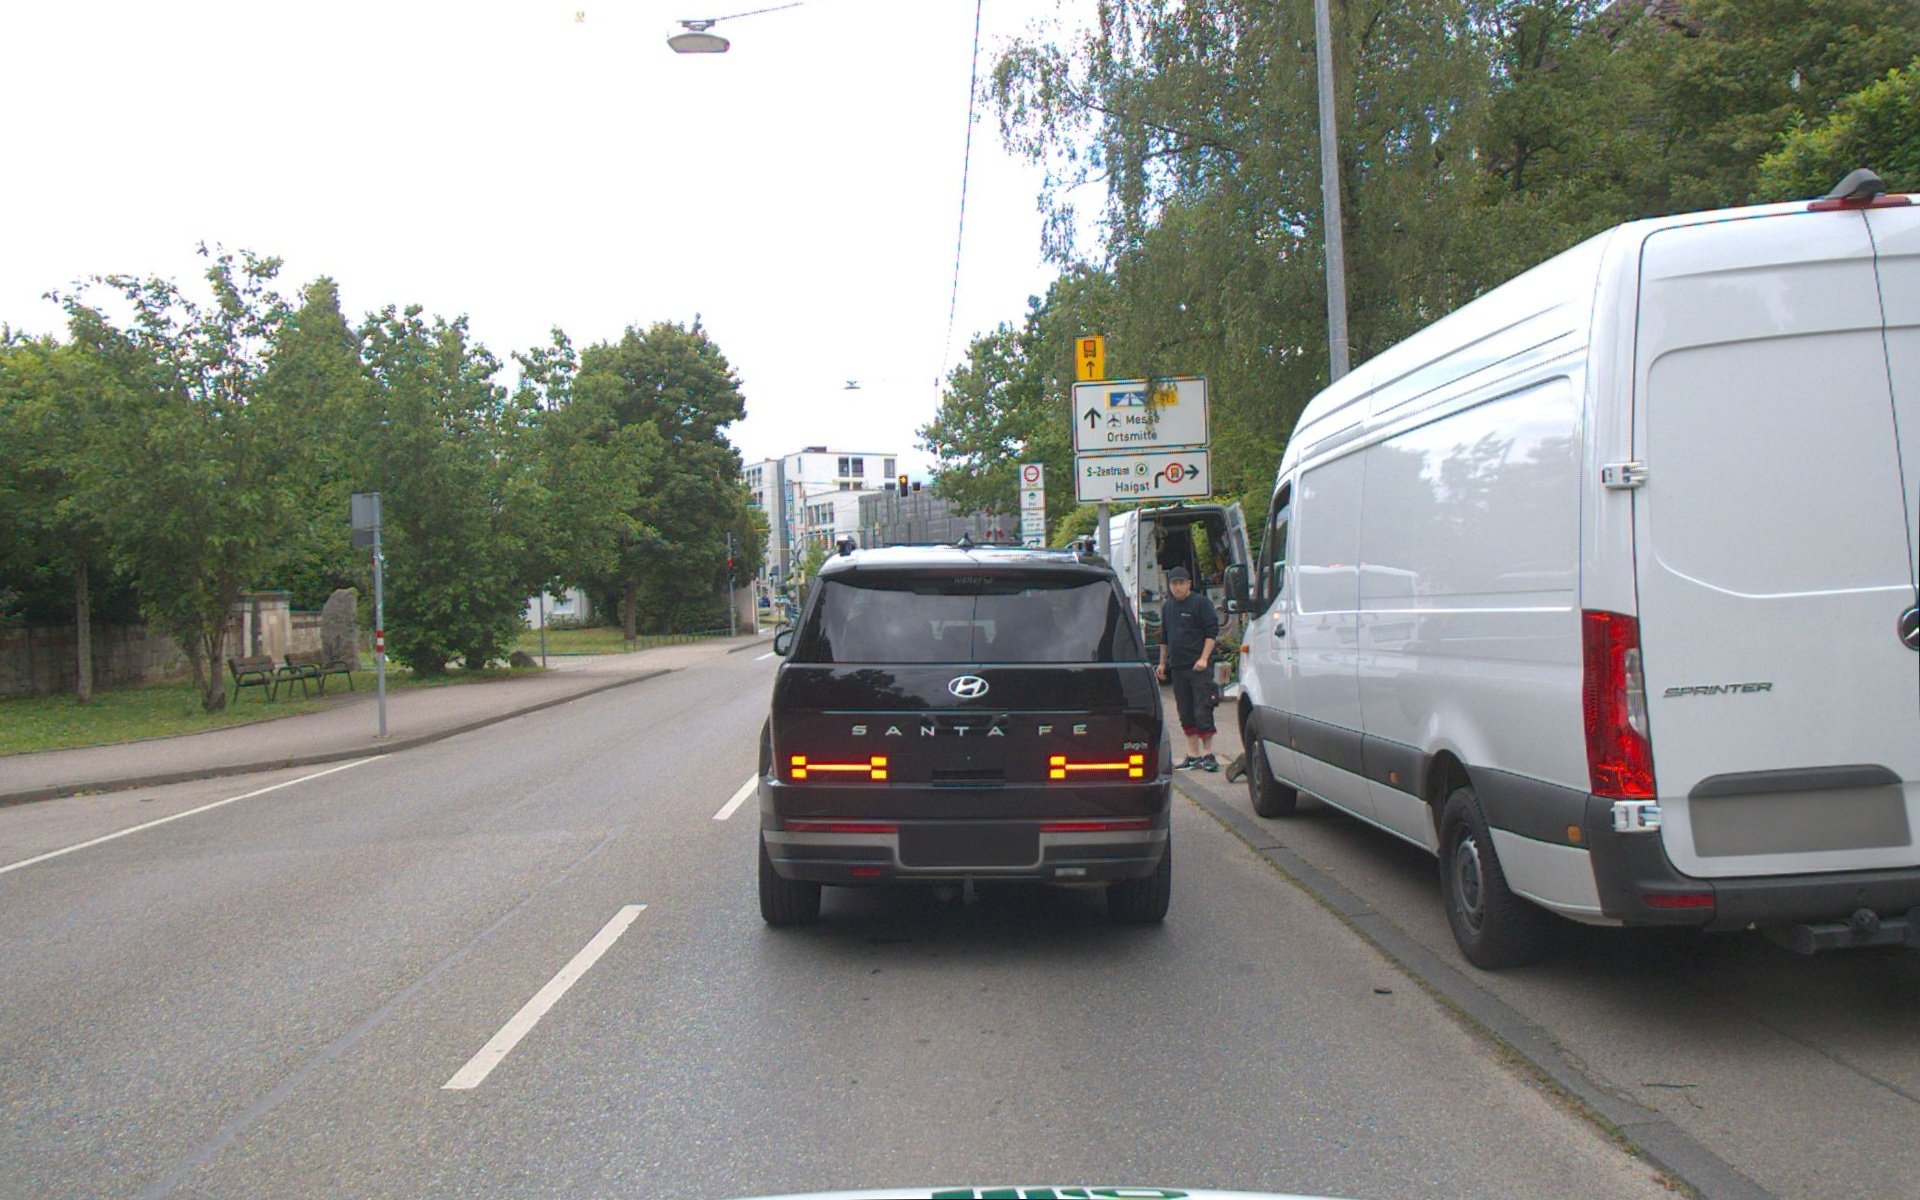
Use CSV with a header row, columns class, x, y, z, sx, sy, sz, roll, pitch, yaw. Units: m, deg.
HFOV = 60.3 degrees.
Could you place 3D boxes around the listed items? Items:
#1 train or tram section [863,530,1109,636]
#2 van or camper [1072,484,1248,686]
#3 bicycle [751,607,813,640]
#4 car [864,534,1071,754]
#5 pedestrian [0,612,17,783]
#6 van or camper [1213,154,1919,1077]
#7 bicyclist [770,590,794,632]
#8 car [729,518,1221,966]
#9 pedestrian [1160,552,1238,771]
class,x,y,z,sx,sy,sz,roll,pitch,yaw
train or tram section,0.783,-0.582,83.256,3.161,4.602,18.485,0,-2,-31
van or camper,3.118,-0.231,26.937,1.924,2.845,5.285,-4,0,-2
bicycle,-7.345,0.967,68.234,2.440,1.302,0.678,-1,-2,7
car,0.016,0.403,17.531,1.924,2.036,3.999,-1,0,-2
pedestrian,-9.429,0.926,15.410,0.733,1.605,0.966,-1,0,-1
van or camper,2.859,-0.003,8.104,1.924,2.673,6.356,-4,0,-2
bicyclist,-7.344,0.463,68.239,0.837,1.688,0.678,-1,-2,7
car,0.008,0.550,8.534,1.924,1.741,3.999,-1,0,-2
pedestrian,1.992,0.510,13.761,0.590,1.774,0.620,-1,-2,11
